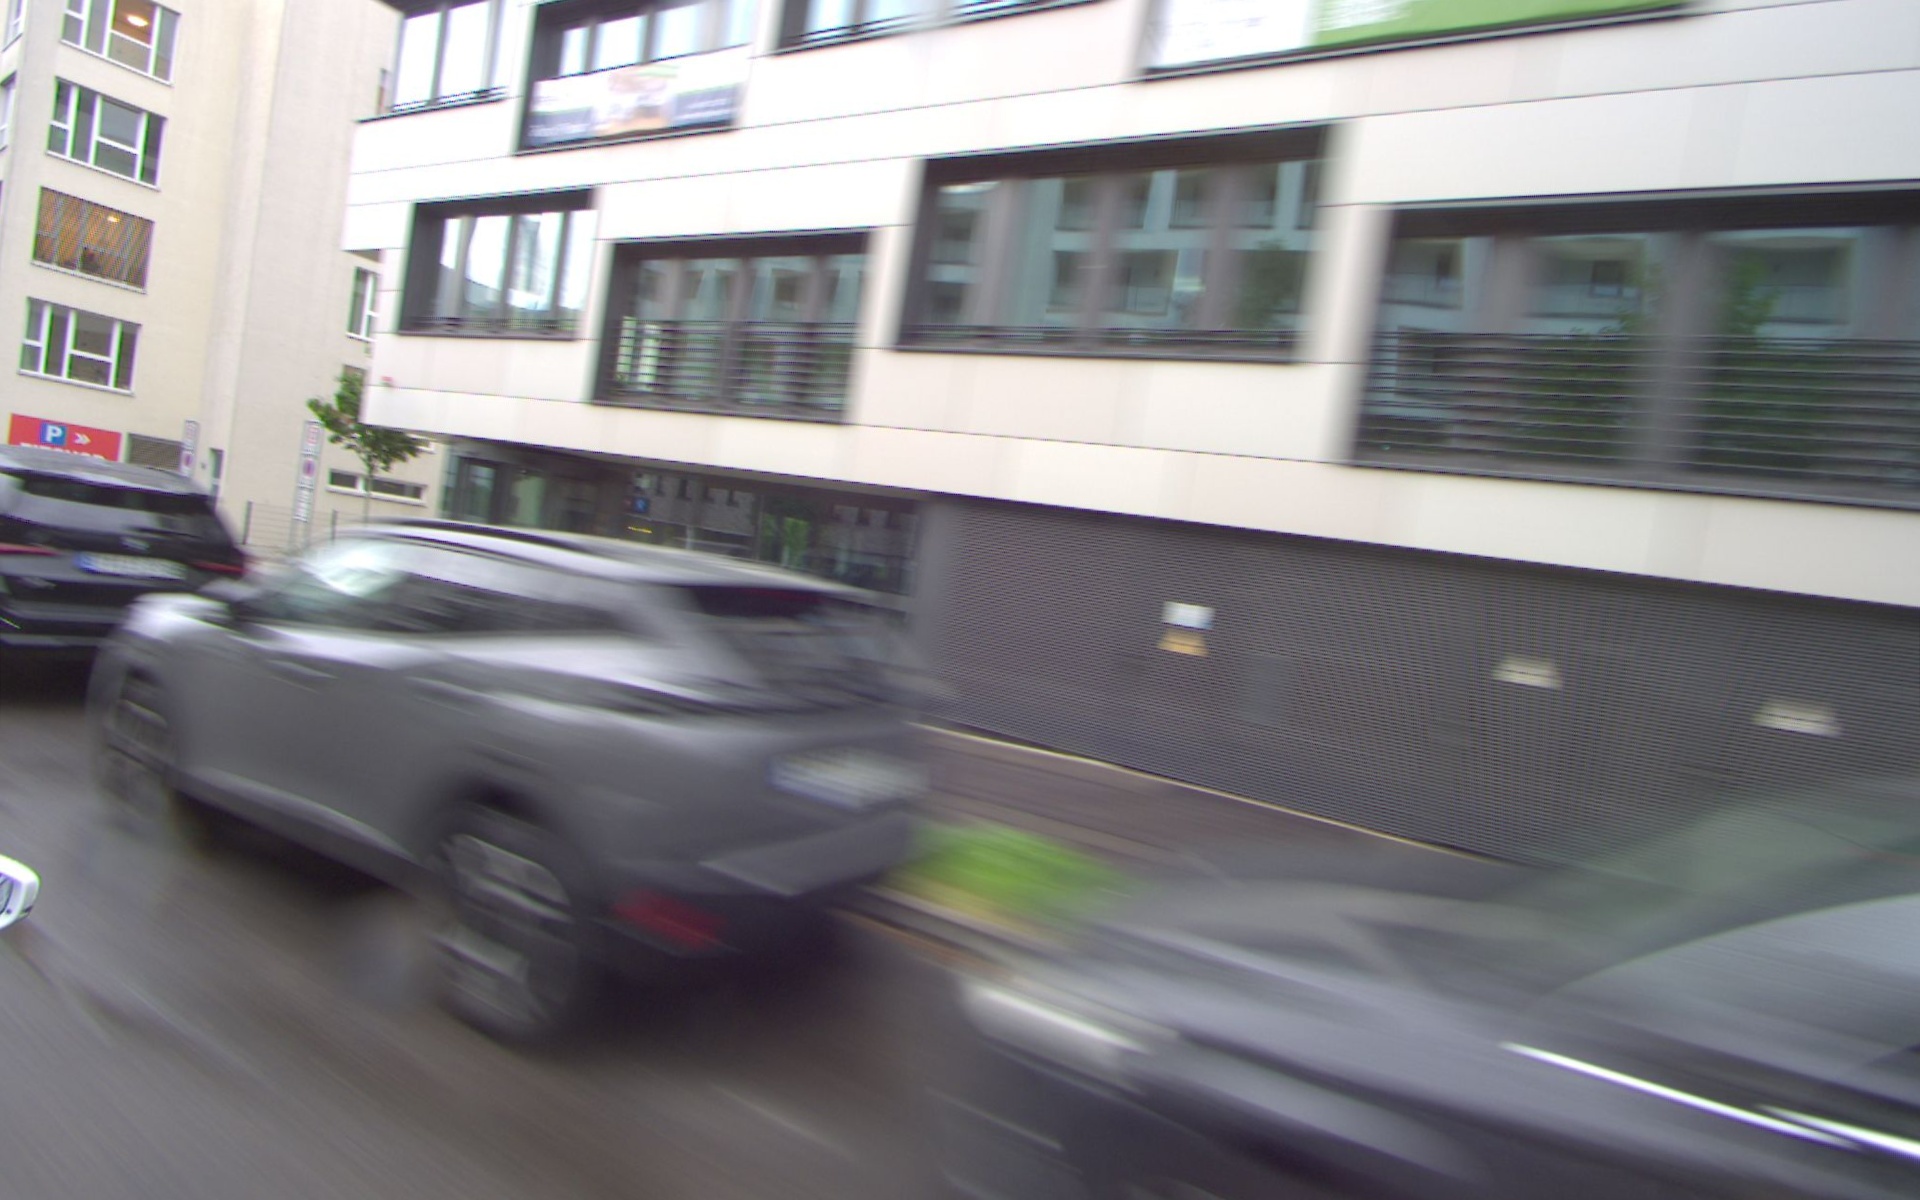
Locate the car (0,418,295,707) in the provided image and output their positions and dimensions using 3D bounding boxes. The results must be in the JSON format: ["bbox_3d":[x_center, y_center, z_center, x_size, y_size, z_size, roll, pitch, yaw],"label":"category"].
[{"bbox_3d":[-7.281,-0.465,7.675,4.634,1.700,1.810,9,1,32],"label":"car"}]

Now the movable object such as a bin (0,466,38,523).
[{"bbox_3d":[-27.875,-3.123,29.341,0.998,1.522,1.174,8,1,35],"label":"movable object such as a bin"}]

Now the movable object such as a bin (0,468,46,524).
[{"bbox_3d":[-27.054,-2.996,28.776,1.041,1.420,1.022,8,1,35],"label":"movable object such as a bin"}]

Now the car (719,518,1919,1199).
[{"bbox_3d":[2.007,0.927,1.818,4.766,1.582,1.810,7,0,32],"label":"car"}]

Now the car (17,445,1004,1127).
[{"bbox_3d":[-2.181,0.366,4.427,4.301,1.625,1.751,7,0,32],"label":"car"}]

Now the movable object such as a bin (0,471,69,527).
[{"bbox_3d":[-26.064,-2.838,28.242,1.173,1.337,1.235,7,1,34],"label":"movable object such as a bin"}]
